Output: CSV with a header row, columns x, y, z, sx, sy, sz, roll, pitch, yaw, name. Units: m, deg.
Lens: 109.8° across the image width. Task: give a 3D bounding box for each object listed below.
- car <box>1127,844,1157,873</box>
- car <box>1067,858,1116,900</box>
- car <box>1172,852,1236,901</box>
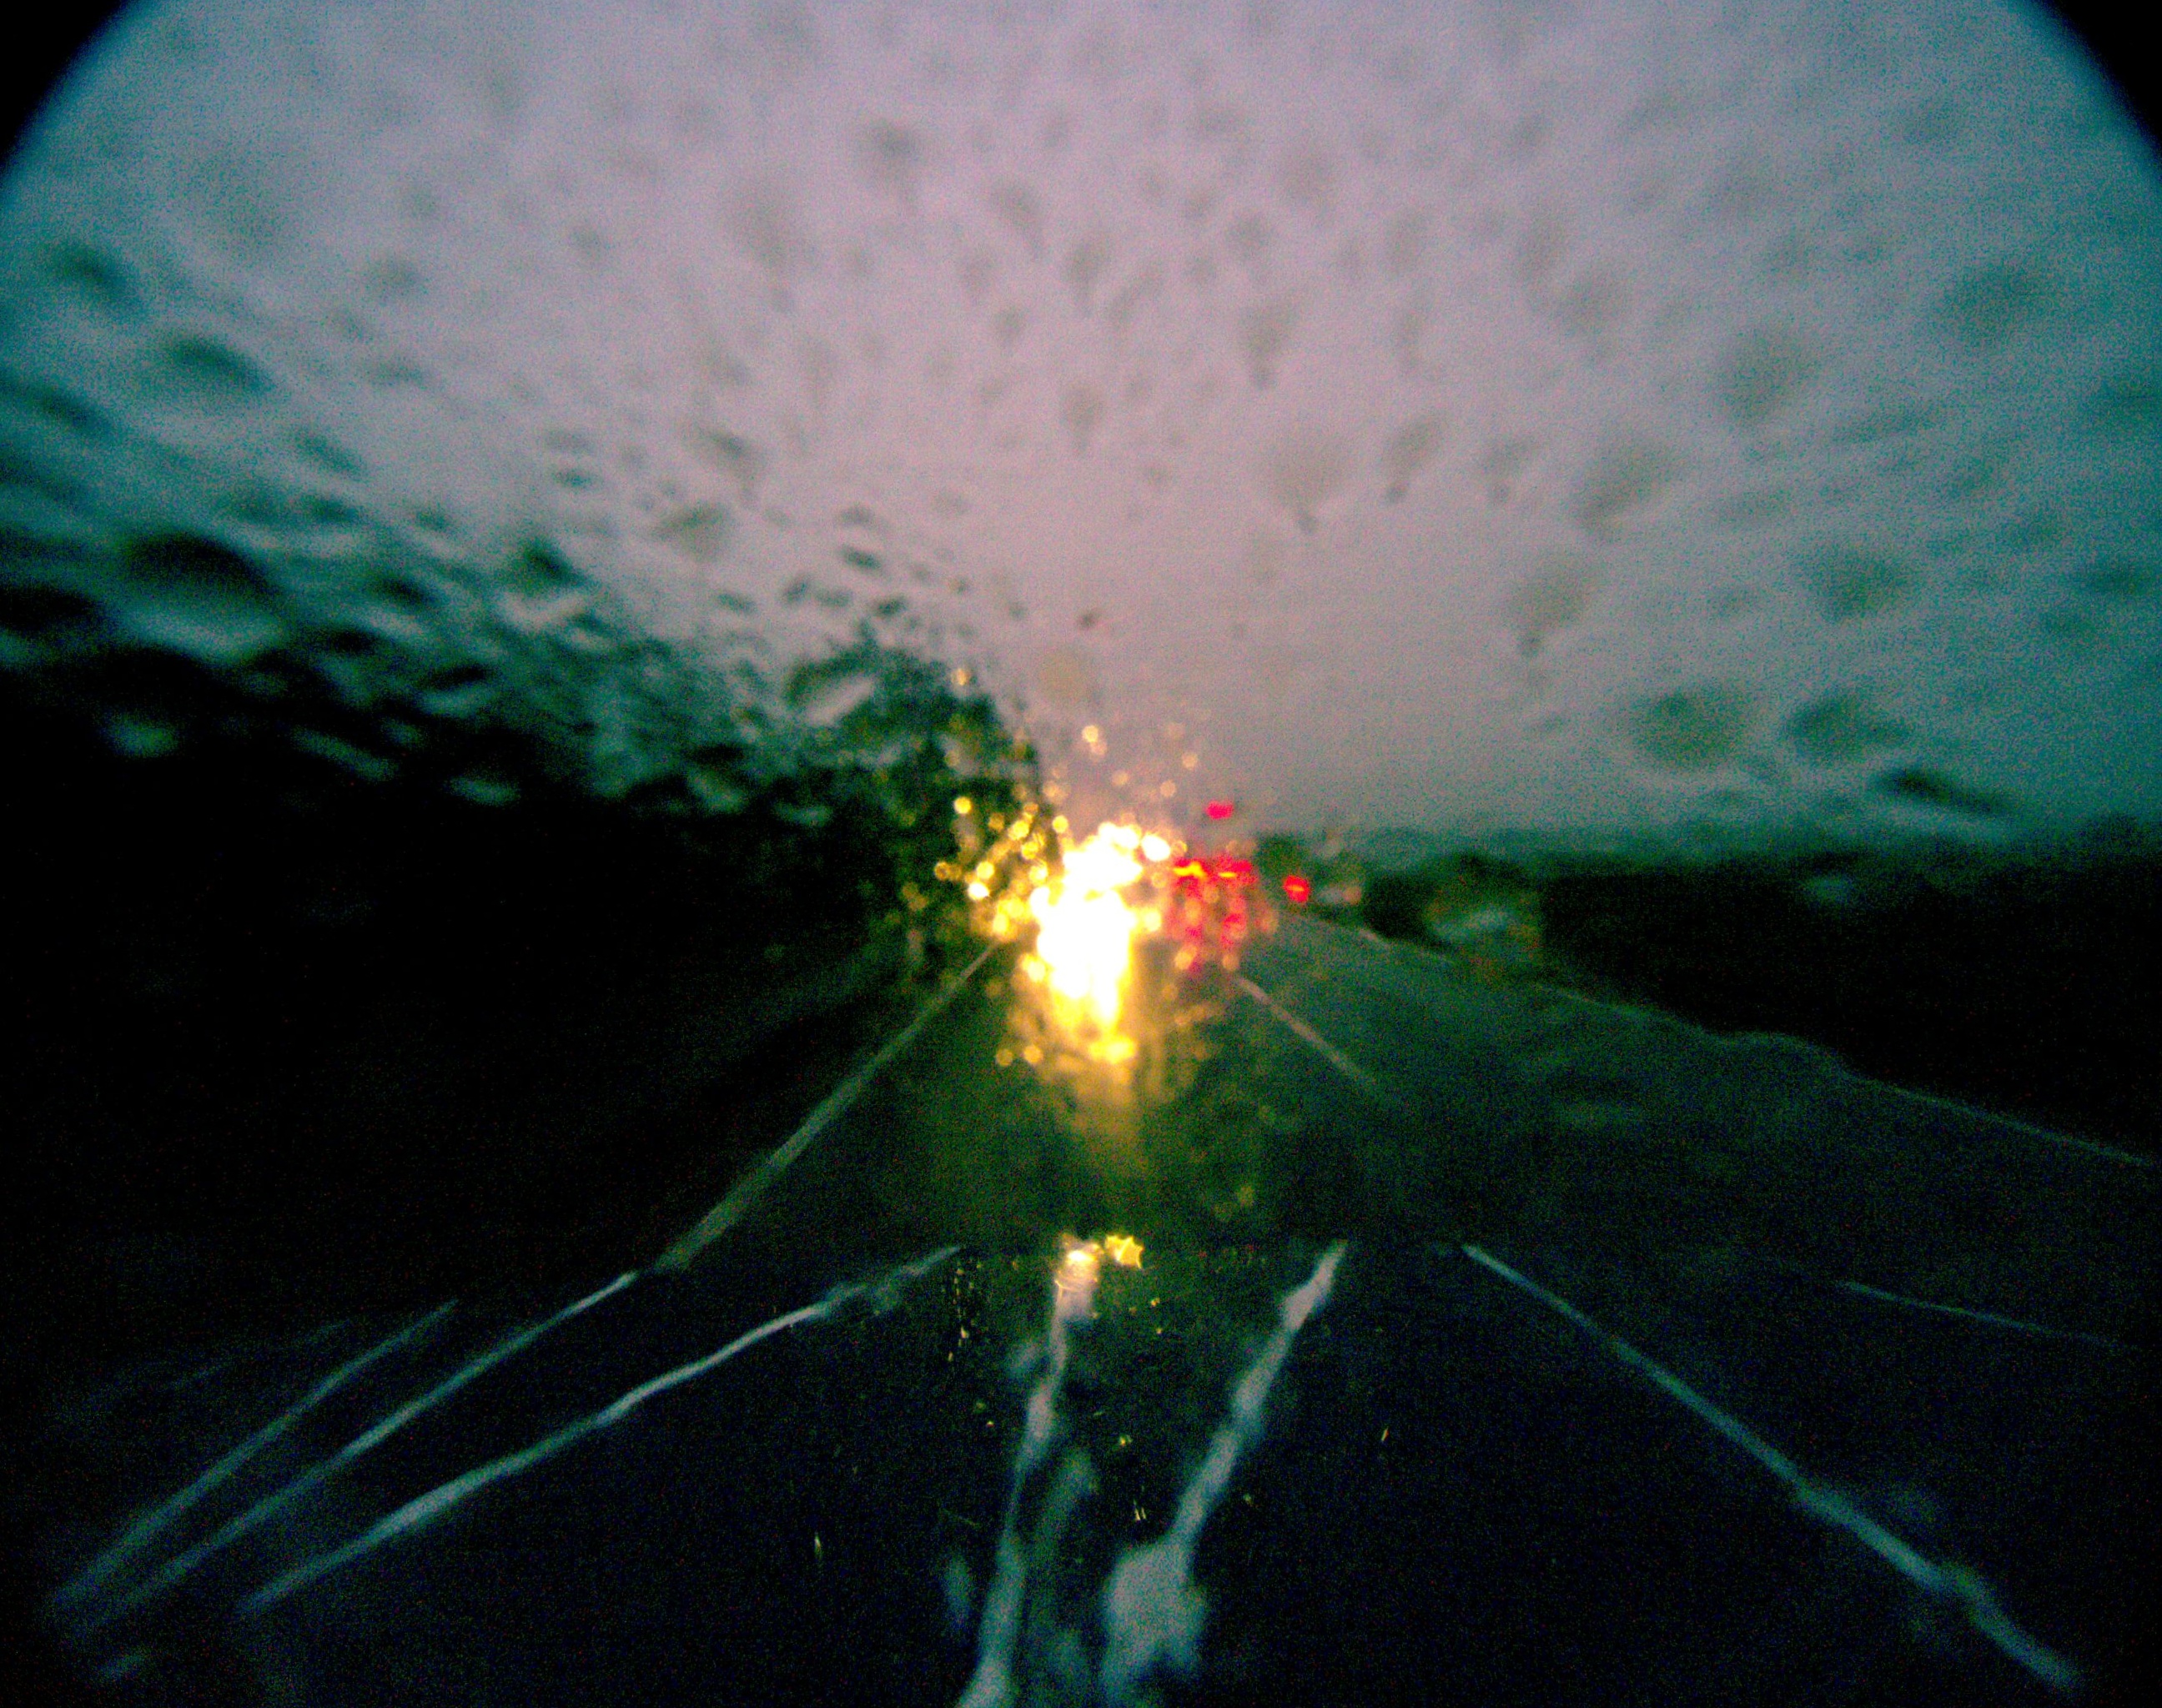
x,y,z,sx,sy,sz,roll,pitch,yaw,name
4.450,0.294,55.930,1.871,2.041,4.293,-1,1,1,car
0.396,0.979,31.139,1.844,1.484,3.955,-2,1,0,car
4.089,0.707,25.704,1.630,1.464,3.512,1,1,1,car
